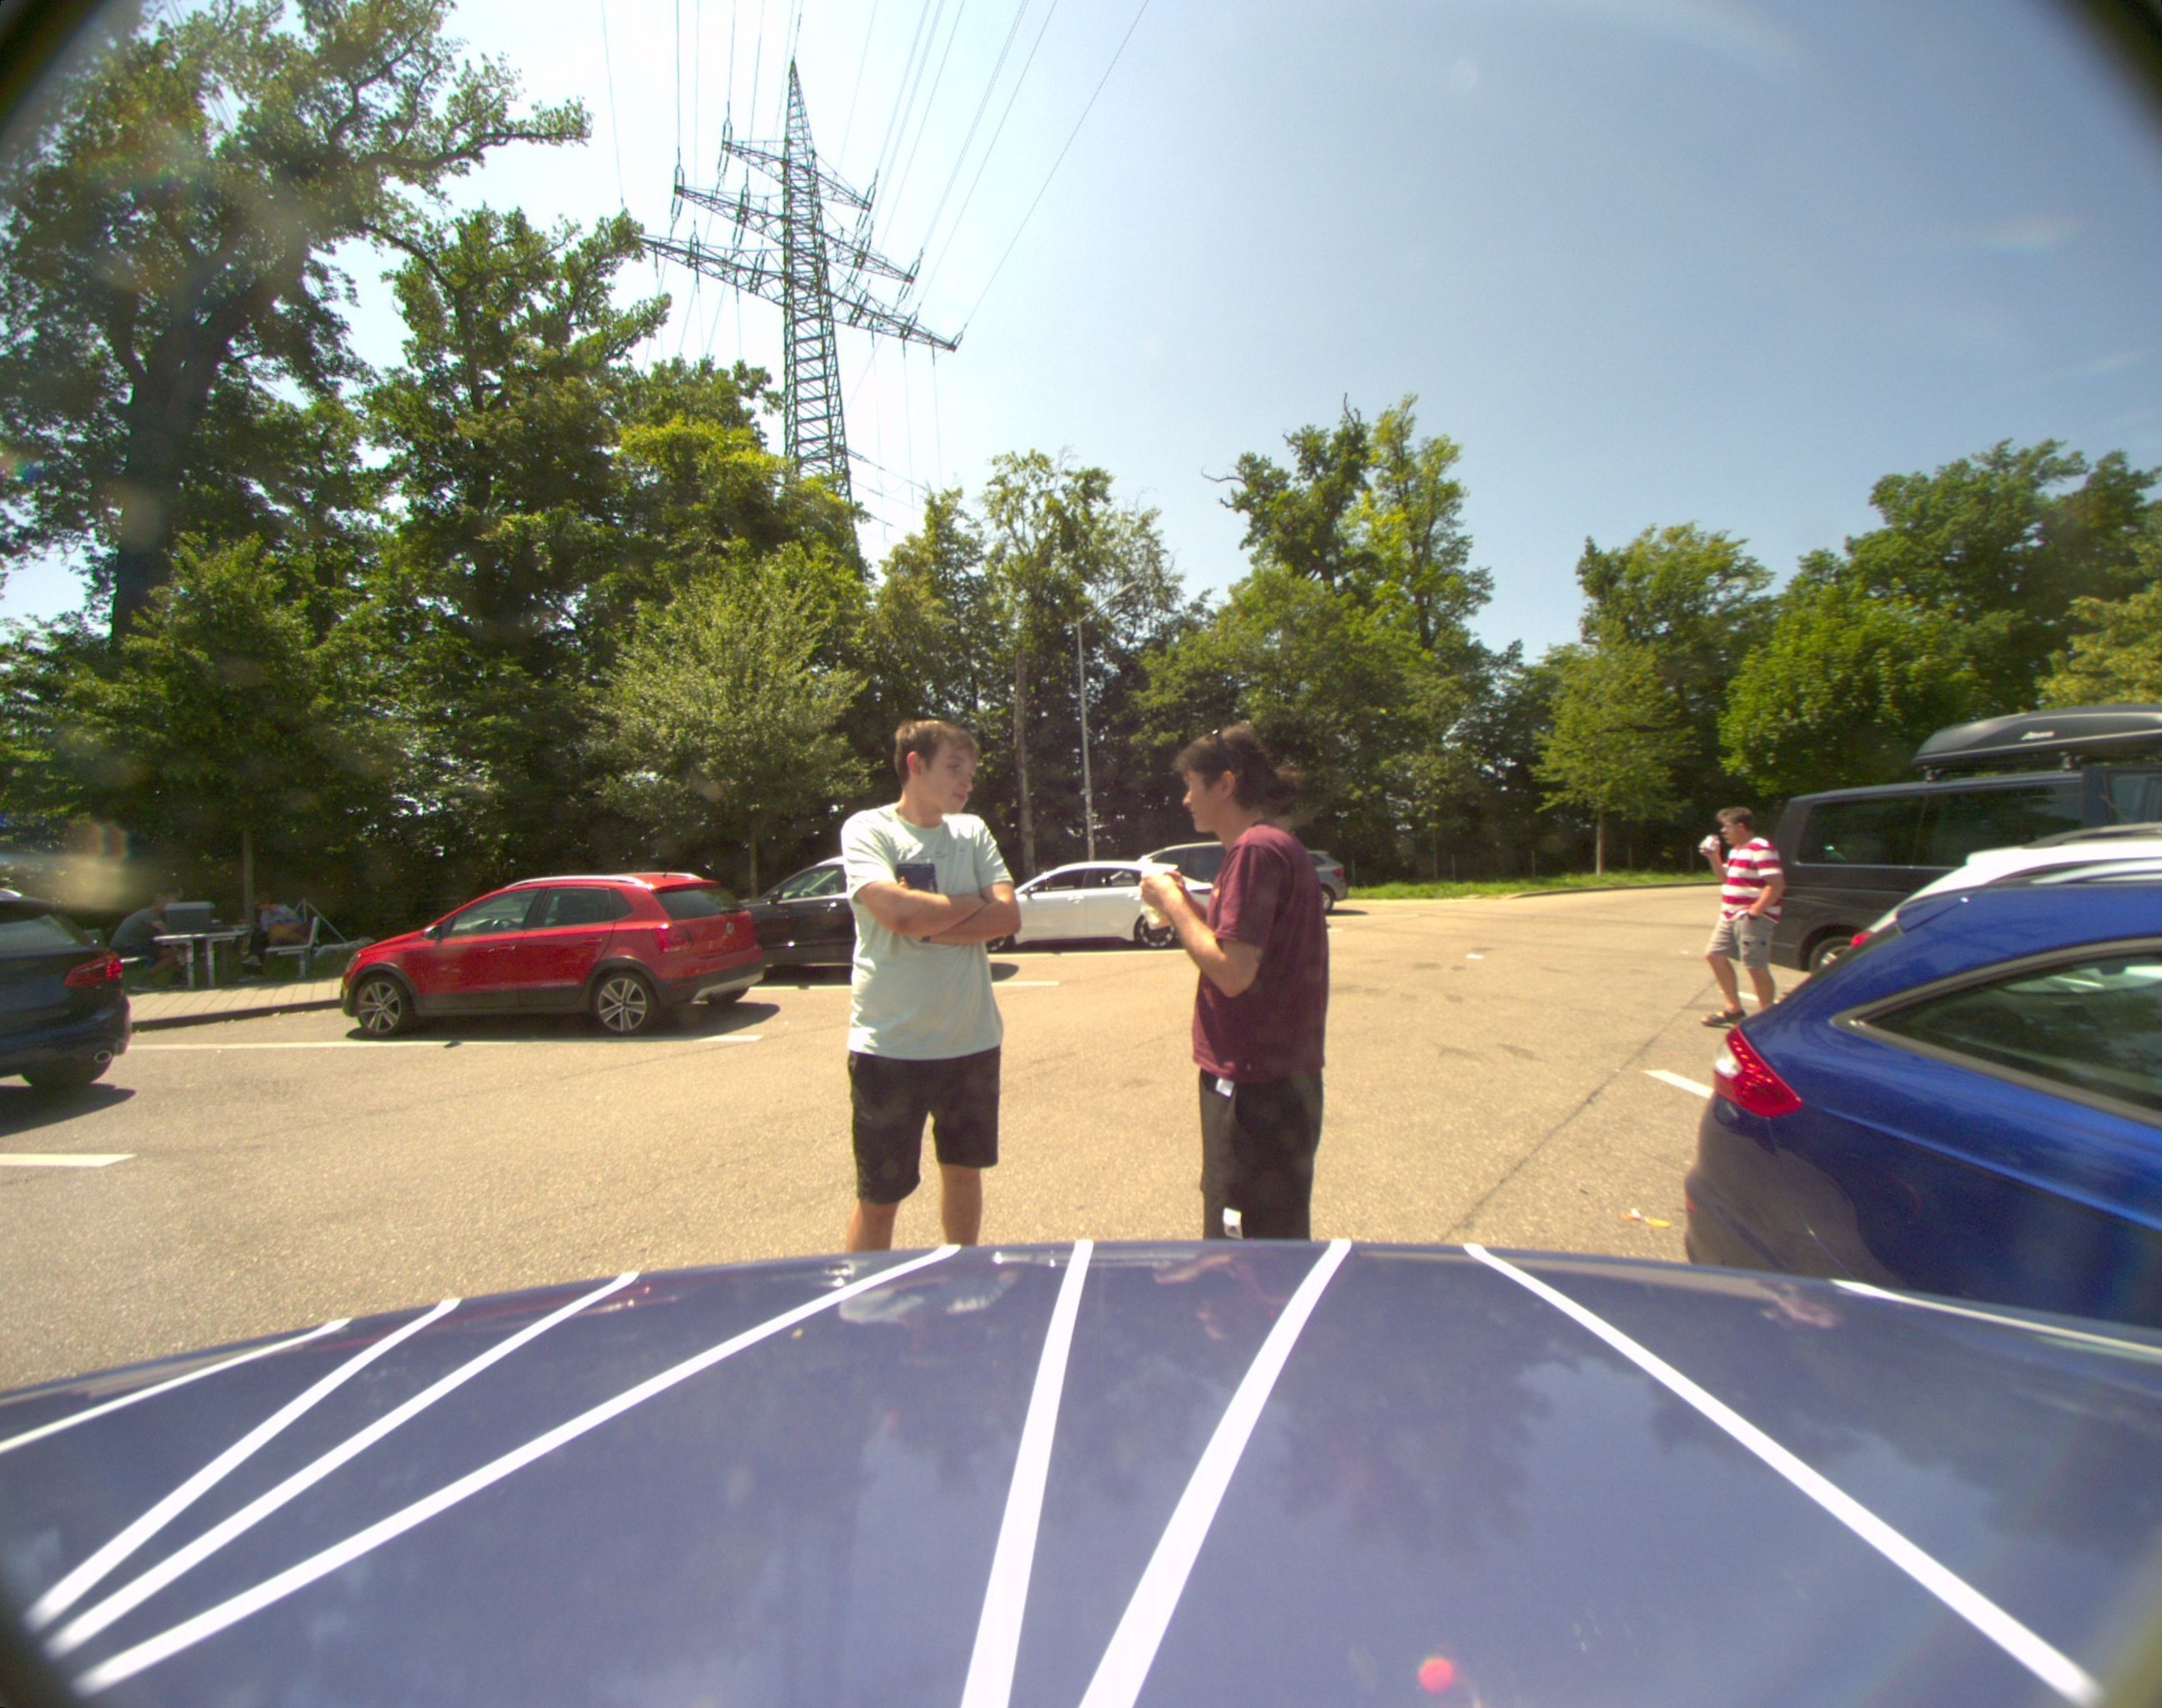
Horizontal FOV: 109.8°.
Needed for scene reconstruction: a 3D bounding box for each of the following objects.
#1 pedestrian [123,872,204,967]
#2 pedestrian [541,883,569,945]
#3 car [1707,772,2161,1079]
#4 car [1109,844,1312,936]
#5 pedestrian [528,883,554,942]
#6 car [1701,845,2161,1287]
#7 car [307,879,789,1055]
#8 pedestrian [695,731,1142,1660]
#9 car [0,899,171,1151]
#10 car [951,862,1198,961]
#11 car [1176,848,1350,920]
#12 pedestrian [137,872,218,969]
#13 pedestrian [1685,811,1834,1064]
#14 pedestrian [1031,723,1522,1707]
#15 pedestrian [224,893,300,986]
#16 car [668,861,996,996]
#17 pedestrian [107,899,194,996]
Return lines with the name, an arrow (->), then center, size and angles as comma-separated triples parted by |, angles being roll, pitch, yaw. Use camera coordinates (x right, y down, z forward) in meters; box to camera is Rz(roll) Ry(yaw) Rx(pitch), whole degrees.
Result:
pedestrian -> -16.253, 1.144, 13.480 | 0.572, 1.596, 0.646 | -2, 1, -13
pedestrian -> -10.148, 1.151, 14.646 | 0.357, 1.158, 0.384 | -3, 2, -41
car -> 7.390, 0.410, 5.305 | 1.758, 1.886, 4.571 | -3, -1, -9
car -> 2.623, 0.702, 15.478 | 3.822, 1.686, 1.652 | -2, 1, 12
pedestrian -> -10.992, 1.174, 15.462 | 0.357, 1.158, 0.384 | -3, 2, -41
car -> 4.662, 0.724, 2.274 | 1.757, 1.496, 4.574 | -3, -1, -1
car -> -5.215, 1.081, 7.692 | 3.823, 1.460, 1.651 | -2, 1, 8
pedestrian -> -0.474, 0.712, 2.181 | 0.815, 1.939, 0.918 | -3, 2, -44
car -> -9.016, 1.163, 5.027 | 4.338, 1.544, 1.749 | -1, 1, 8
car -> -0.058, 0.924, 12.696 | 3.825, 1.394, 1.651 | -2, 1, 4
car -> 4.283, 0.698, 18.173 | 3.822, 1.551, 1.652 | -2, 1, 12
pedestrian -> -15.655, 1.125, 13.183 | 0.572, 1.596, 0.646 | -2, 1, -13
pedestrian -> 5.098, 0.574, 5.765 | 0.783, 1.744, 0.756 | -1, 1, 39
pedestrian -> 0.483, 0.710, 1.951 | 0.919, 1.894, 0.815 | -2, 1, 16
pedestrian -> -11.845, 1.218, 11.009 | 0.595, 1.238, 0.499 | -3, 1, -33
car -> -3.233, 0.953, 10.321 | 3.825, 1.546, 1.651 | -2, 1, 4
pedestrian -> -12.712, 1.258, 10.395 | 0.595, 1.238, 0.446 | -3, 1, -33
